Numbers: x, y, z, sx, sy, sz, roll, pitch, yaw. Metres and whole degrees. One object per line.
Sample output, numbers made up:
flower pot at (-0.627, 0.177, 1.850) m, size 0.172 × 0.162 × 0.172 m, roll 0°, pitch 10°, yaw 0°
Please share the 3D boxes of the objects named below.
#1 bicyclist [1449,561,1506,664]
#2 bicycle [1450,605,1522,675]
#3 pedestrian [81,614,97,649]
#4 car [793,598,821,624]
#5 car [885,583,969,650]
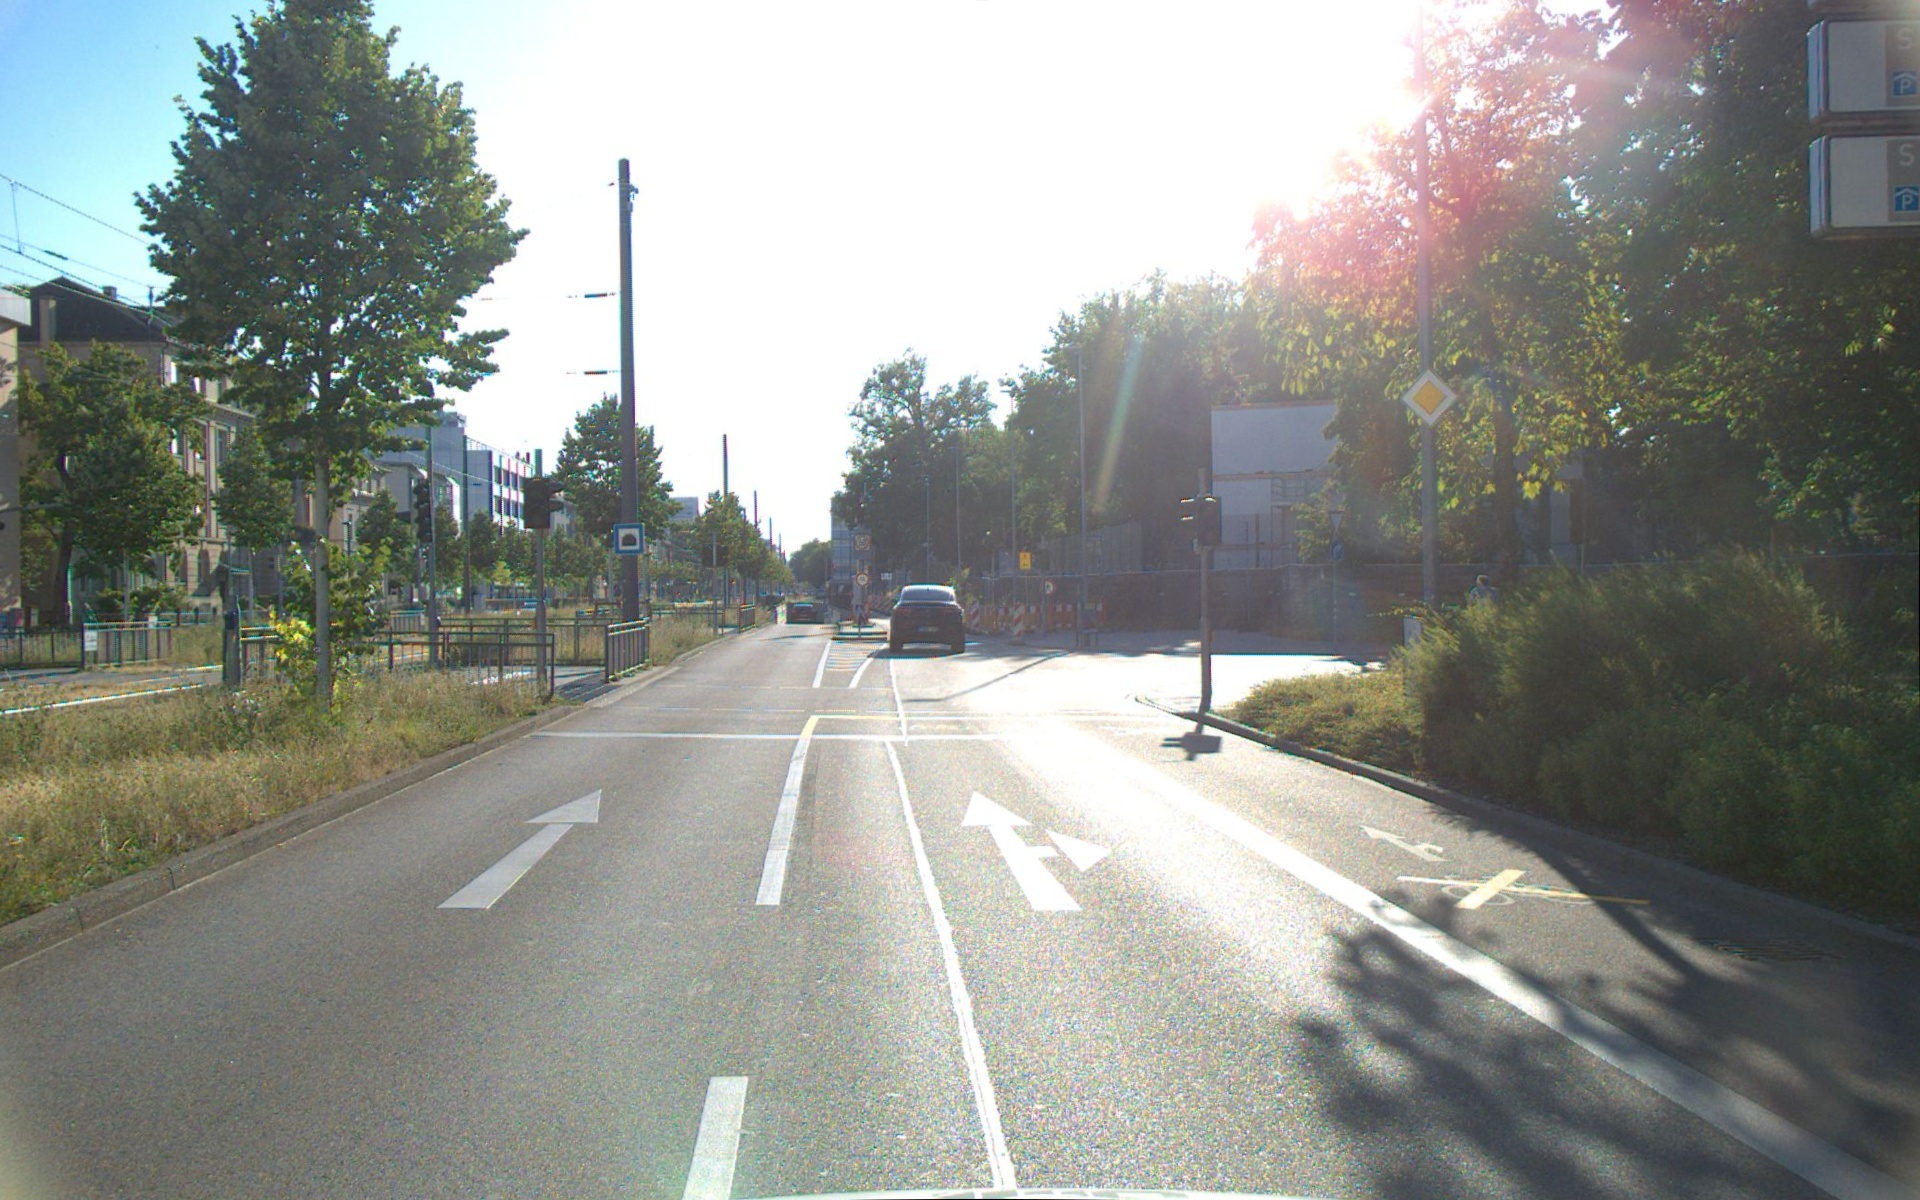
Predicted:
bicyclist at (8.415, 0.193, 26.929) m, size 0.572 × 1.643 × 0.902 m, roll -1°, pitch 0°, yaw -5°
bicycle at (8.521, 0.626, 26.851) m, size 0.419 × 1.080 × 1.910 m, roll -1°, pitch 0°, yaw -4°
pedestrian at (-40.476, 1.470, 76.861) m, size 0.509 × 1.583 × 0.448 m, roll -1°, pitch 0°, yaw -6°
car at (-10.257, 0.710, 111.281) m, size 1.791 × 1.688 × 3.996 m, roll 1°, pitch 0°, yaw -5°
car at (-0.921, 0.434, 44.066) m, size 1.966 × 1.688 × 3.996 m, roll 1°, pitch 0°, yaw -5°
